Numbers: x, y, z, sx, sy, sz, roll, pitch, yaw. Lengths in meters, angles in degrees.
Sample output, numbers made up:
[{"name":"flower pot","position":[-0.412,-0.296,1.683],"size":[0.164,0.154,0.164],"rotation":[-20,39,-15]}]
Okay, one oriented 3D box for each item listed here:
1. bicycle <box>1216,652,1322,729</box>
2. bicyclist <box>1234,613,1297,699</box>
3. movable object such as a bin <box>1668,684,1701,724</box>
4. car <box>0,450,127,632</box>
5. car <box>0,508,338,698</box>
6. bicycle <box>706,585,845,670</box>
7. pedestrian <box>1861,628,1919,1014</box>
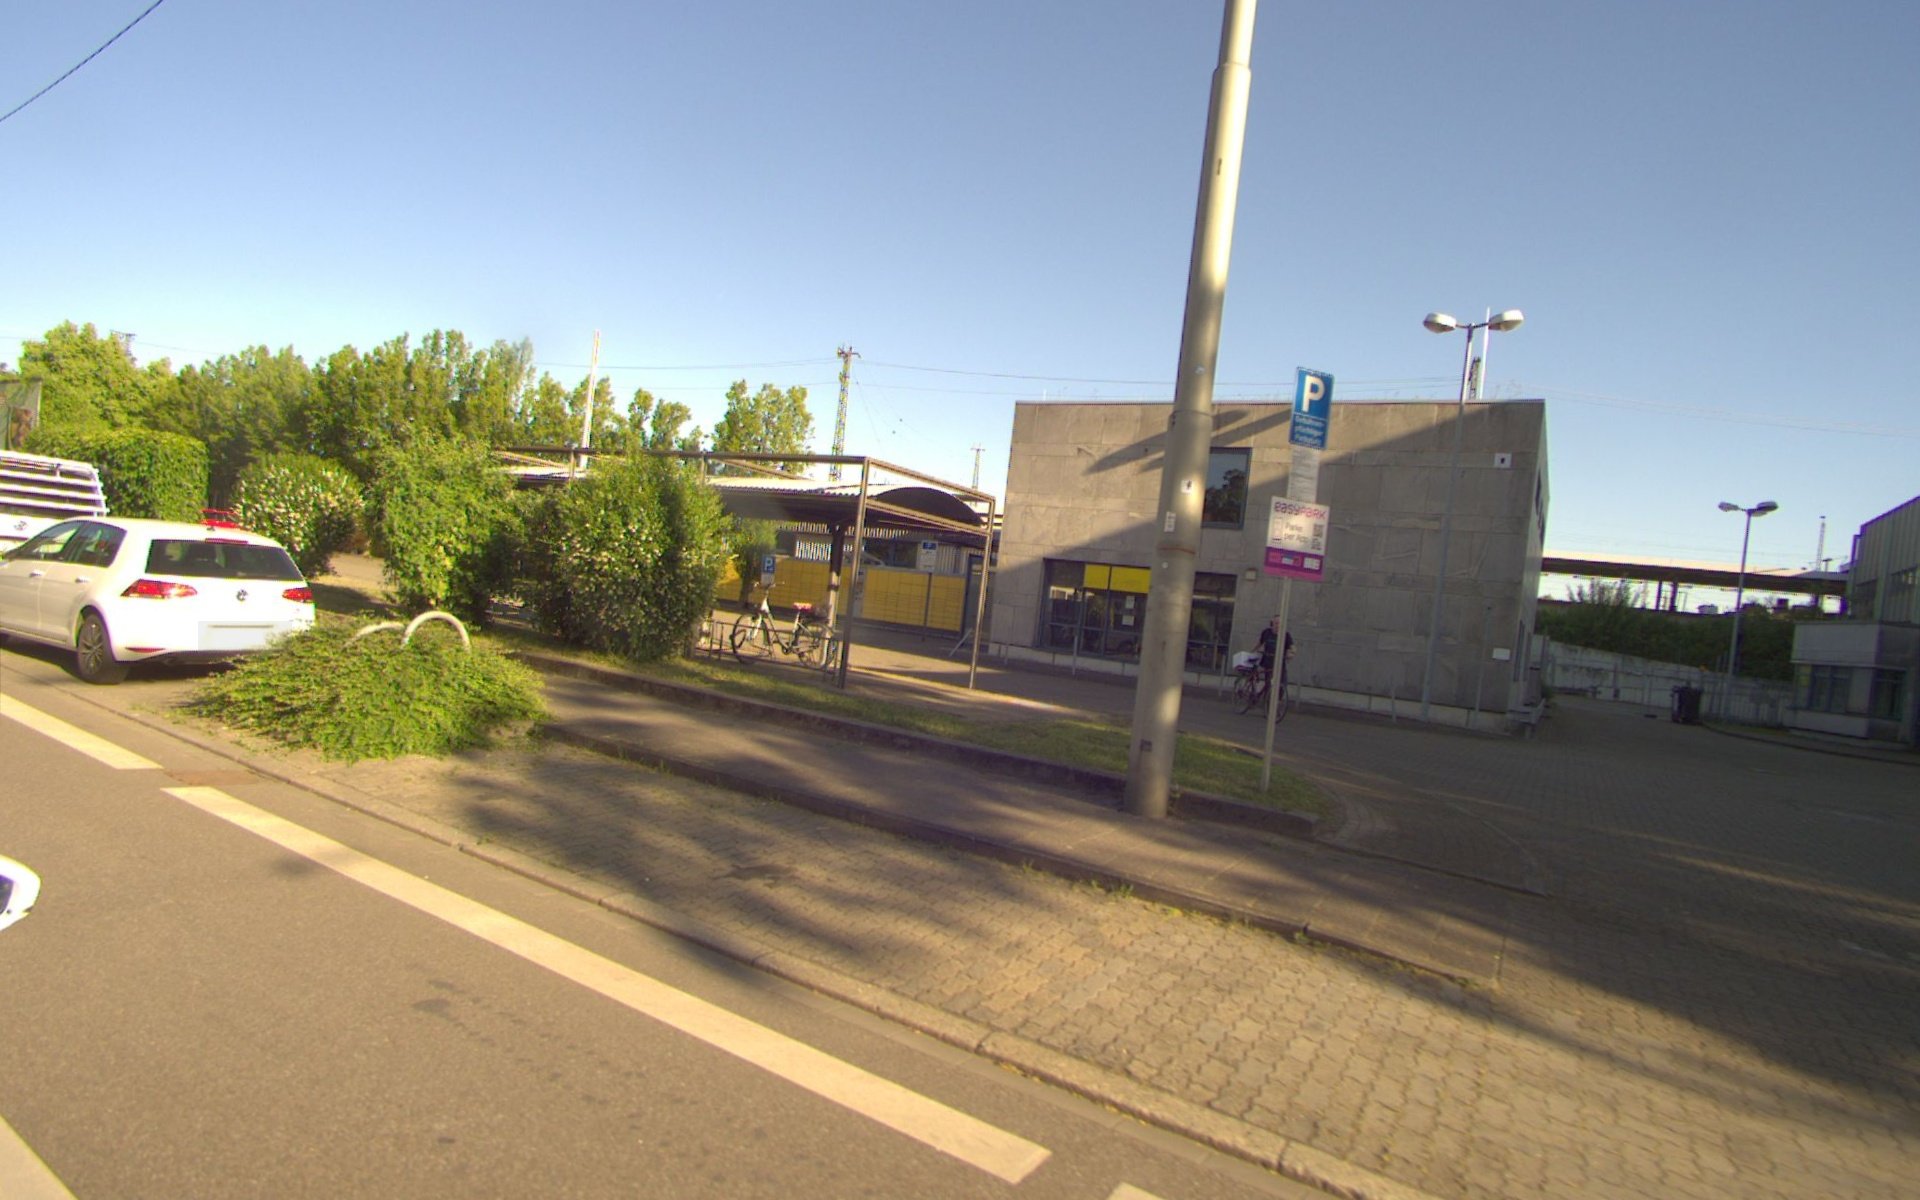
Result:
[{"name":"bicycle","position":[5.322,1.542,17.499],"size":[0.742,1.083,2.005],"rotation":[7,-1,-14]},{"name":"bicyclist","position":[5.357,0.974,17.654],"size":[0.719,1.401,0.580],"rotation":[7,0,-15]},{"name":"movable object such as a bin","position":[25.995,3.724,36.096],"size":[0.767,1.295,0.902],"rotation":[6,-1,31]},{"name":"car","position":[-12.907,-0.902,12.950],"size":[5.157,2.016,1.855],"rotation":[6,0,34]},{"name":"car","position":[-8.477,-0.070,10.260],"size":[4.426,1.436,1.677],"rotation":[6,2,30]},{"name":"bicycle","position":[-2.592,0.413,14.333],"size":[0.569,1.020,1.893],"rotation":[6,-1,43]},{"name":"pedestrian","position":[5.257,1.107,4.695],"size":[1.282,1.815,0.670],"rotation":[6,5,31]}]
